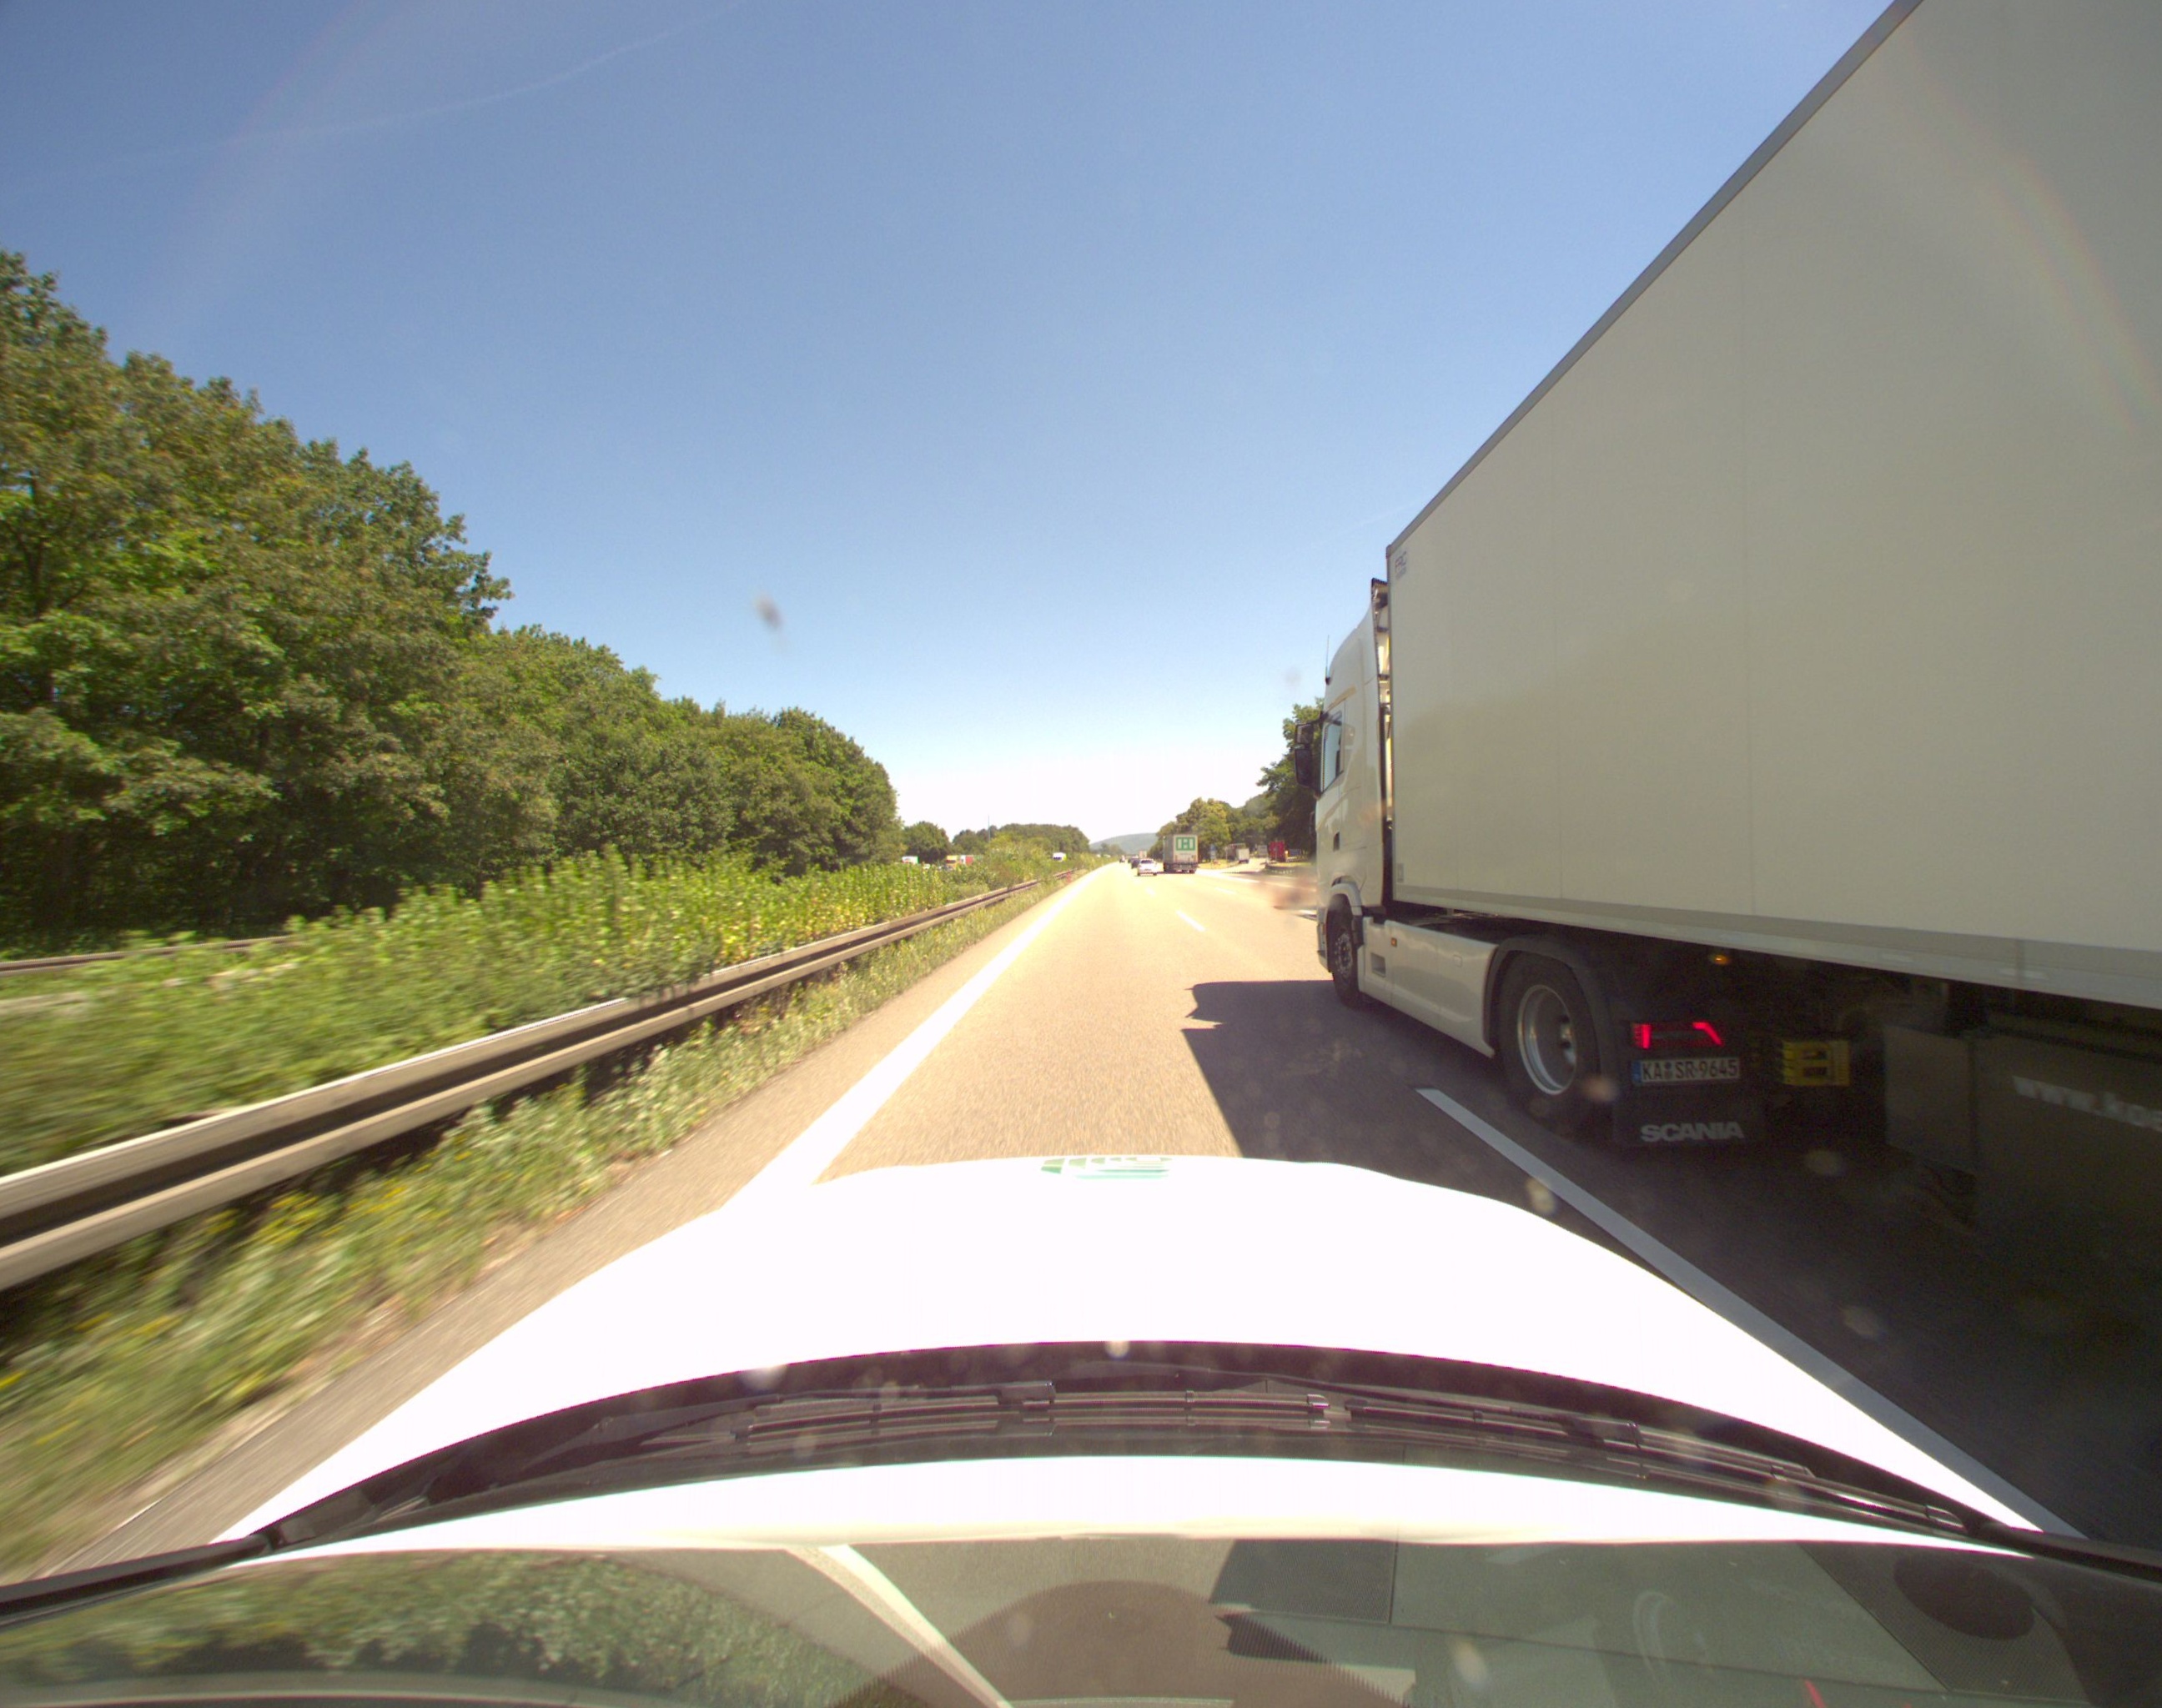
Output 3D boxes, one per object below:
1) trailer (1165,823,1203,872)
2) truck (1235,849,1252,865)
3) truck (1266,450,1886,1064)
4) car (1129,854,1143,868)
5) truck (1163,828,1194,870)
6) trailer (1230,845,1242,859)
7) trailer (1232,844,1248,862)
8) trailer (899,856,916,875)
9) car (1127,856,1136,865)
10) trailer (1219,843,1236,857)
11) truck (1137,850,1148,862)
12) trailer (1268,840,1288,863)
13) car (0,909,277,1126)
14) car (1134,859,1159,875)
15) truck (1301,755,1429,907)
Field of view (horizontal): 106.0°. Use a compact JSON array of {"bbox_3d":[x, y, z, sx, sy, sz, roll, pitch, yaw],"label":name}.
[{"bbox_3d":[10.591,-0.591,85.153,3.167,4.627,12.063,-2,0,4],"label":"trailer"},{"bbox_3d":[32.138,0.612,160.889,2.456,2.946,7.671,-1,-1,6],"label":"truck"},{"bbox_3d":[3.937,-0.670,7.921,3.217,4.157,4.560,-2,0,1],"label":"truck"},{"bbox_3d":[8.130,1.007,120.654,1.887,1.892,4.007,-3,-1,6],"label":"car"},{"bbox_3d":[11.198,-0.535,93.872,3.168,4.607,5.953,-1,-1,3],"label":"truck"},{"bbox_3d":[41.019,-0.493,215.632,3.083,3.790,13.400,-1,0,10],"label":"trailer"},{"bbox_3d":[34.928,-0.196,178.684,3.163,3.935,11.588,-1,-1,12],"label":"trailer"},{"bbox_3d":[-37.877,2.509,178.048,2.608,3.971,12.570,-2,0,-7],"label":"trailer"},{"bbox_3d":[11.608,1.589,188.729,1.875,2.013,4.001,-2,0,1],"label":"car"},{"bbox_3d":[42.383,-1.036,236.113,3.121,3.952,14.211,-2,0,4],"label":"trailer"},{"bbox_3d":[19.550,0.547,258.355,3.310,3.756,12.808,-1,0,4],"label":"truck"},{"bbox_3d":[36.004,-0.430,148.617,2.957,3.878,12.940,-2,-1,15],"label":"trailer"},{"bbox_3d":[-8.955,1.327,6.008,1.738,1.484,4.191,-3,0,2],"label":"car"},{"bbox_3d":[5.894,1.140,73.621,1.807,1.405,3.313,-2,0,-3],"label":"car"},{"bbox_3d":[8.162,-0.595,23.890,2.439,4.038,4.074,-1,-1,3],"label":"truck"}]
